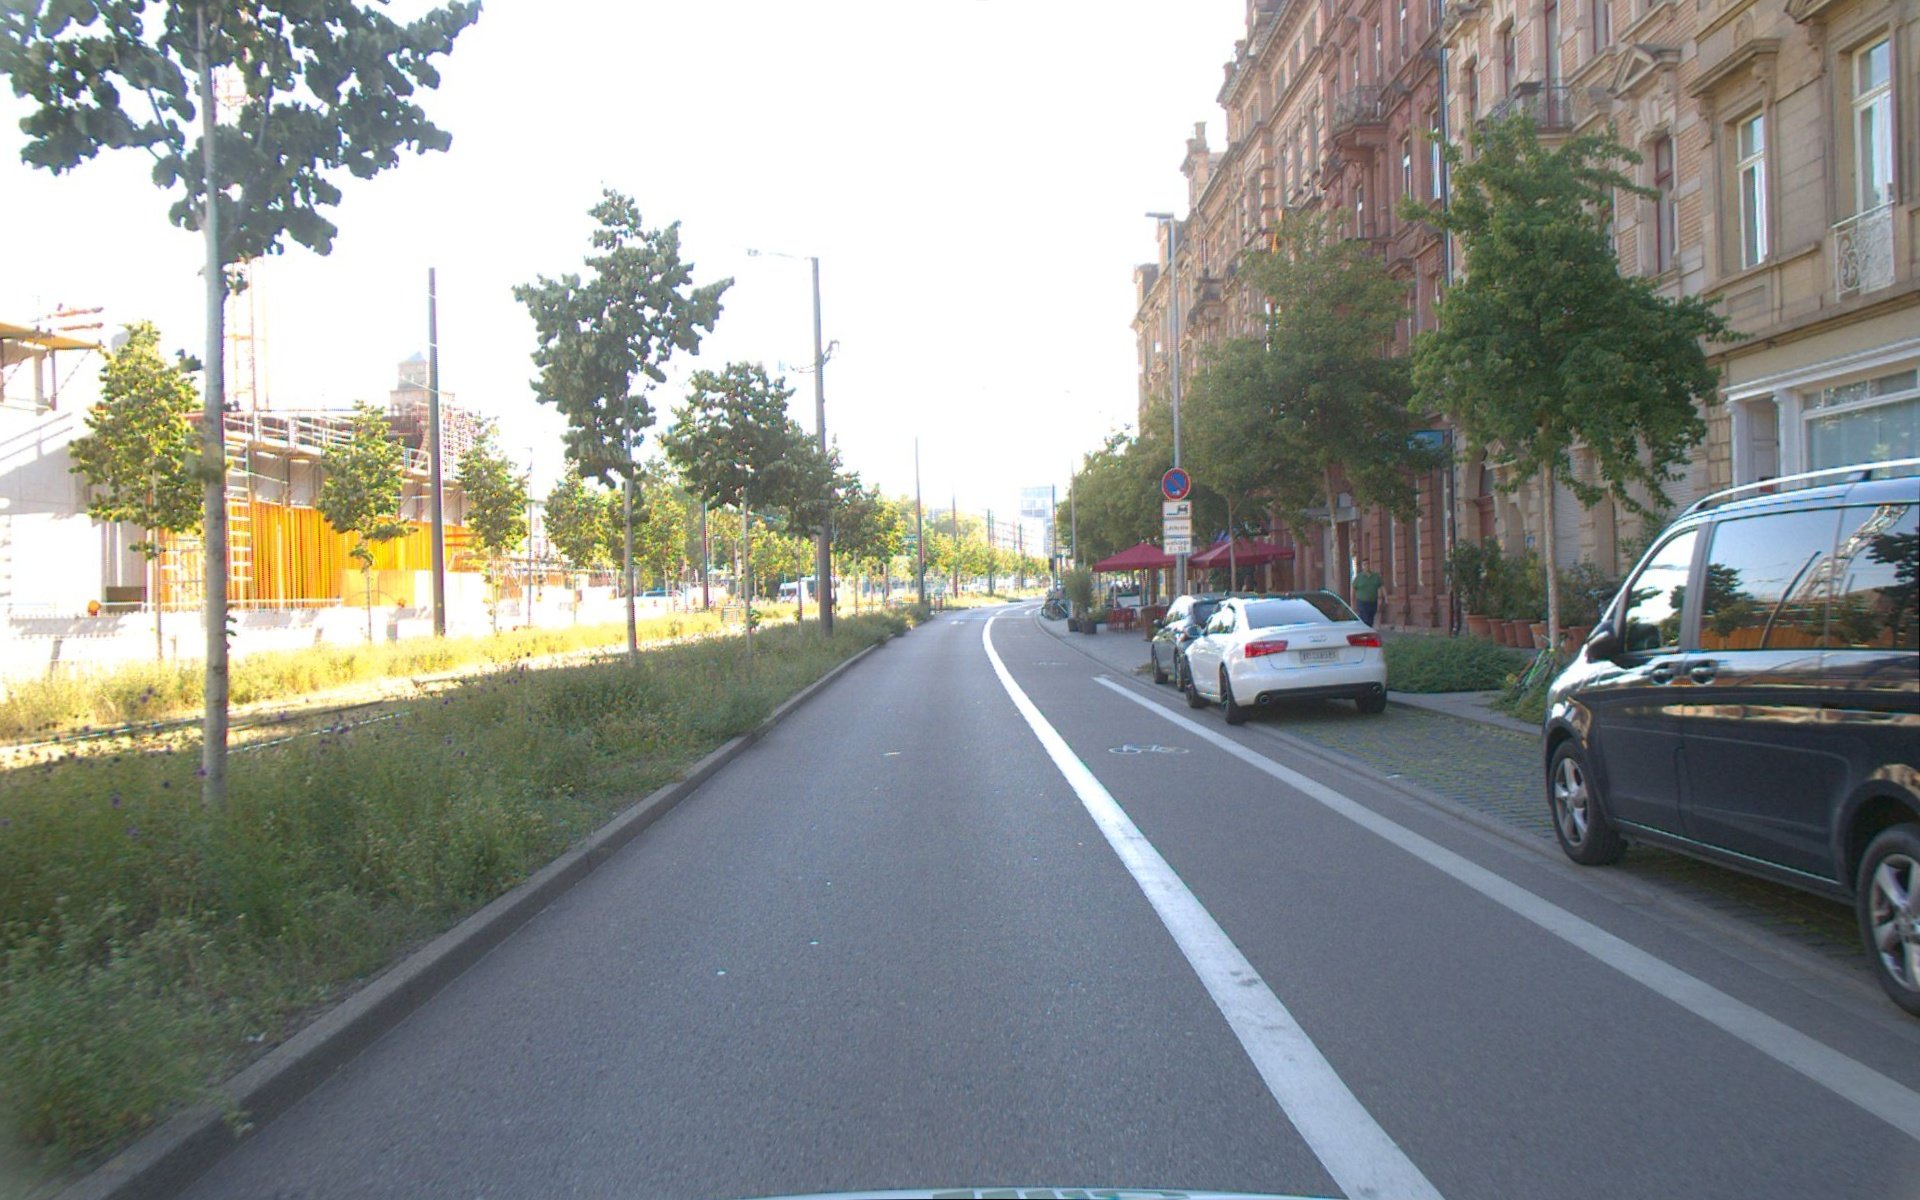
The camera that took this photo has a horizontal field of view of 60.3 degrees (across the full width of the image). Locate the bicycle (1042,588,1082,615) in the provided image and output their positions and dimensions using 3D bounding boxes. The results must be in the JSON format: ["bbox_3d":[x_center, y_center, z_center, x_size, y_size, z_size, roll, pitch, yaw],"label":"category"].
[{"bbox_3d":[4.935,0.072,80.051,1.805,1.123,0.566,-4,0,6],"label":"bicycle"}]

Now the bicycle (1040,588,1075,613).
[{"bbox_3d":[4.995,0.021,84.497,1.717,1.123,0.507,-4,0,6],"label":"bicycle"}]

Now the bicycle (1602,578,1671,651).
[{"bbox_3d":[10.481,0.210,25.670,0.377,1.099,1.676,-1,0,0],"label":"bicycle"}]

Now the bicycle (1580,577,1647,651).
[{"bbox_3d":[10.102,0.206,25.613,0.377,1.099,1.676,-1,0,0],"label":"bicycle"}]

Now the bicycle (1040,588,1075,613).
[{"bbox_3d":[5.025,0.024,85.088,1.717,1.123,0.507,-4,0,6],"label":"bicycle"}]

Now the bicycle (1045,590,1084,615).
[{"bbox_3d":[4.962,0.104,78.607,1.767,1.065,0.566,-4,0,6],"label":"bicycle"}]

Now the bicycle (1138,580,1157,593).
[{"bbox_3d":[18.579,-1.332,163.958,1.860,1.112,0.392,-3,0,2],"label":"bicycle"}]

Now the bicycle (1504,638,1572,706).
[{"bbox_3d":[6.061,0.750,17.382,0.347,0.658,1.002,-1,0,0],"label":"bicycle"}]

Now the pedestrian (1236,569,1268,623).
[{"bbox_3d":[8.671,-0.114,49.188,0.713,1.560,0.797,-3,0,0],"label":"pedestrian"}]

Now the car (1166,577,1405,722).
[{"bbox_3d":[3.913,0.517,20.822,1.811,1.479,5.251,-3,1,-1],"label":"car"}]

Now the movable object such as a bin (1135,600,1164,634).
[{"bbox_3d":[5.433,0.488,47.469,0.661,0.940,0.560,-5,-1,20],"label":"movable object such as a bin"}]

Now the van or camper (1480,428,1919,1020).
[{"bbox_3d":[4.191,0.354,7.433,1.921,2.006,5.488,-3,1,0],"label":"van or camper"}]

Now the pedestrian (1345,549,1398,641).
[{"bbox_3d":[8.285,-0.099,33.353,0.732,1.785,1.072,-3,0,0],"label":"pedestrian"}]

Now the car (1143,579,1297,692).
[{"bbox_3d":[4.171,0.513,27.159,1.811,1.591,4.297,-3,1,0],"label":"car"}]

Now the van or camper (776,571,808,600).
[{"bbox_3d":[-16.042,-1.455,158.176,2.176,2.553,7.201,-3,1,0],"label":"van or camper"}]

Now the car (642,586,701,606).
[{"bbox_3d":[-27.683,-0.379,158.930,5.116,1.747,2.126,-1,0,6],"label":"car"}]
